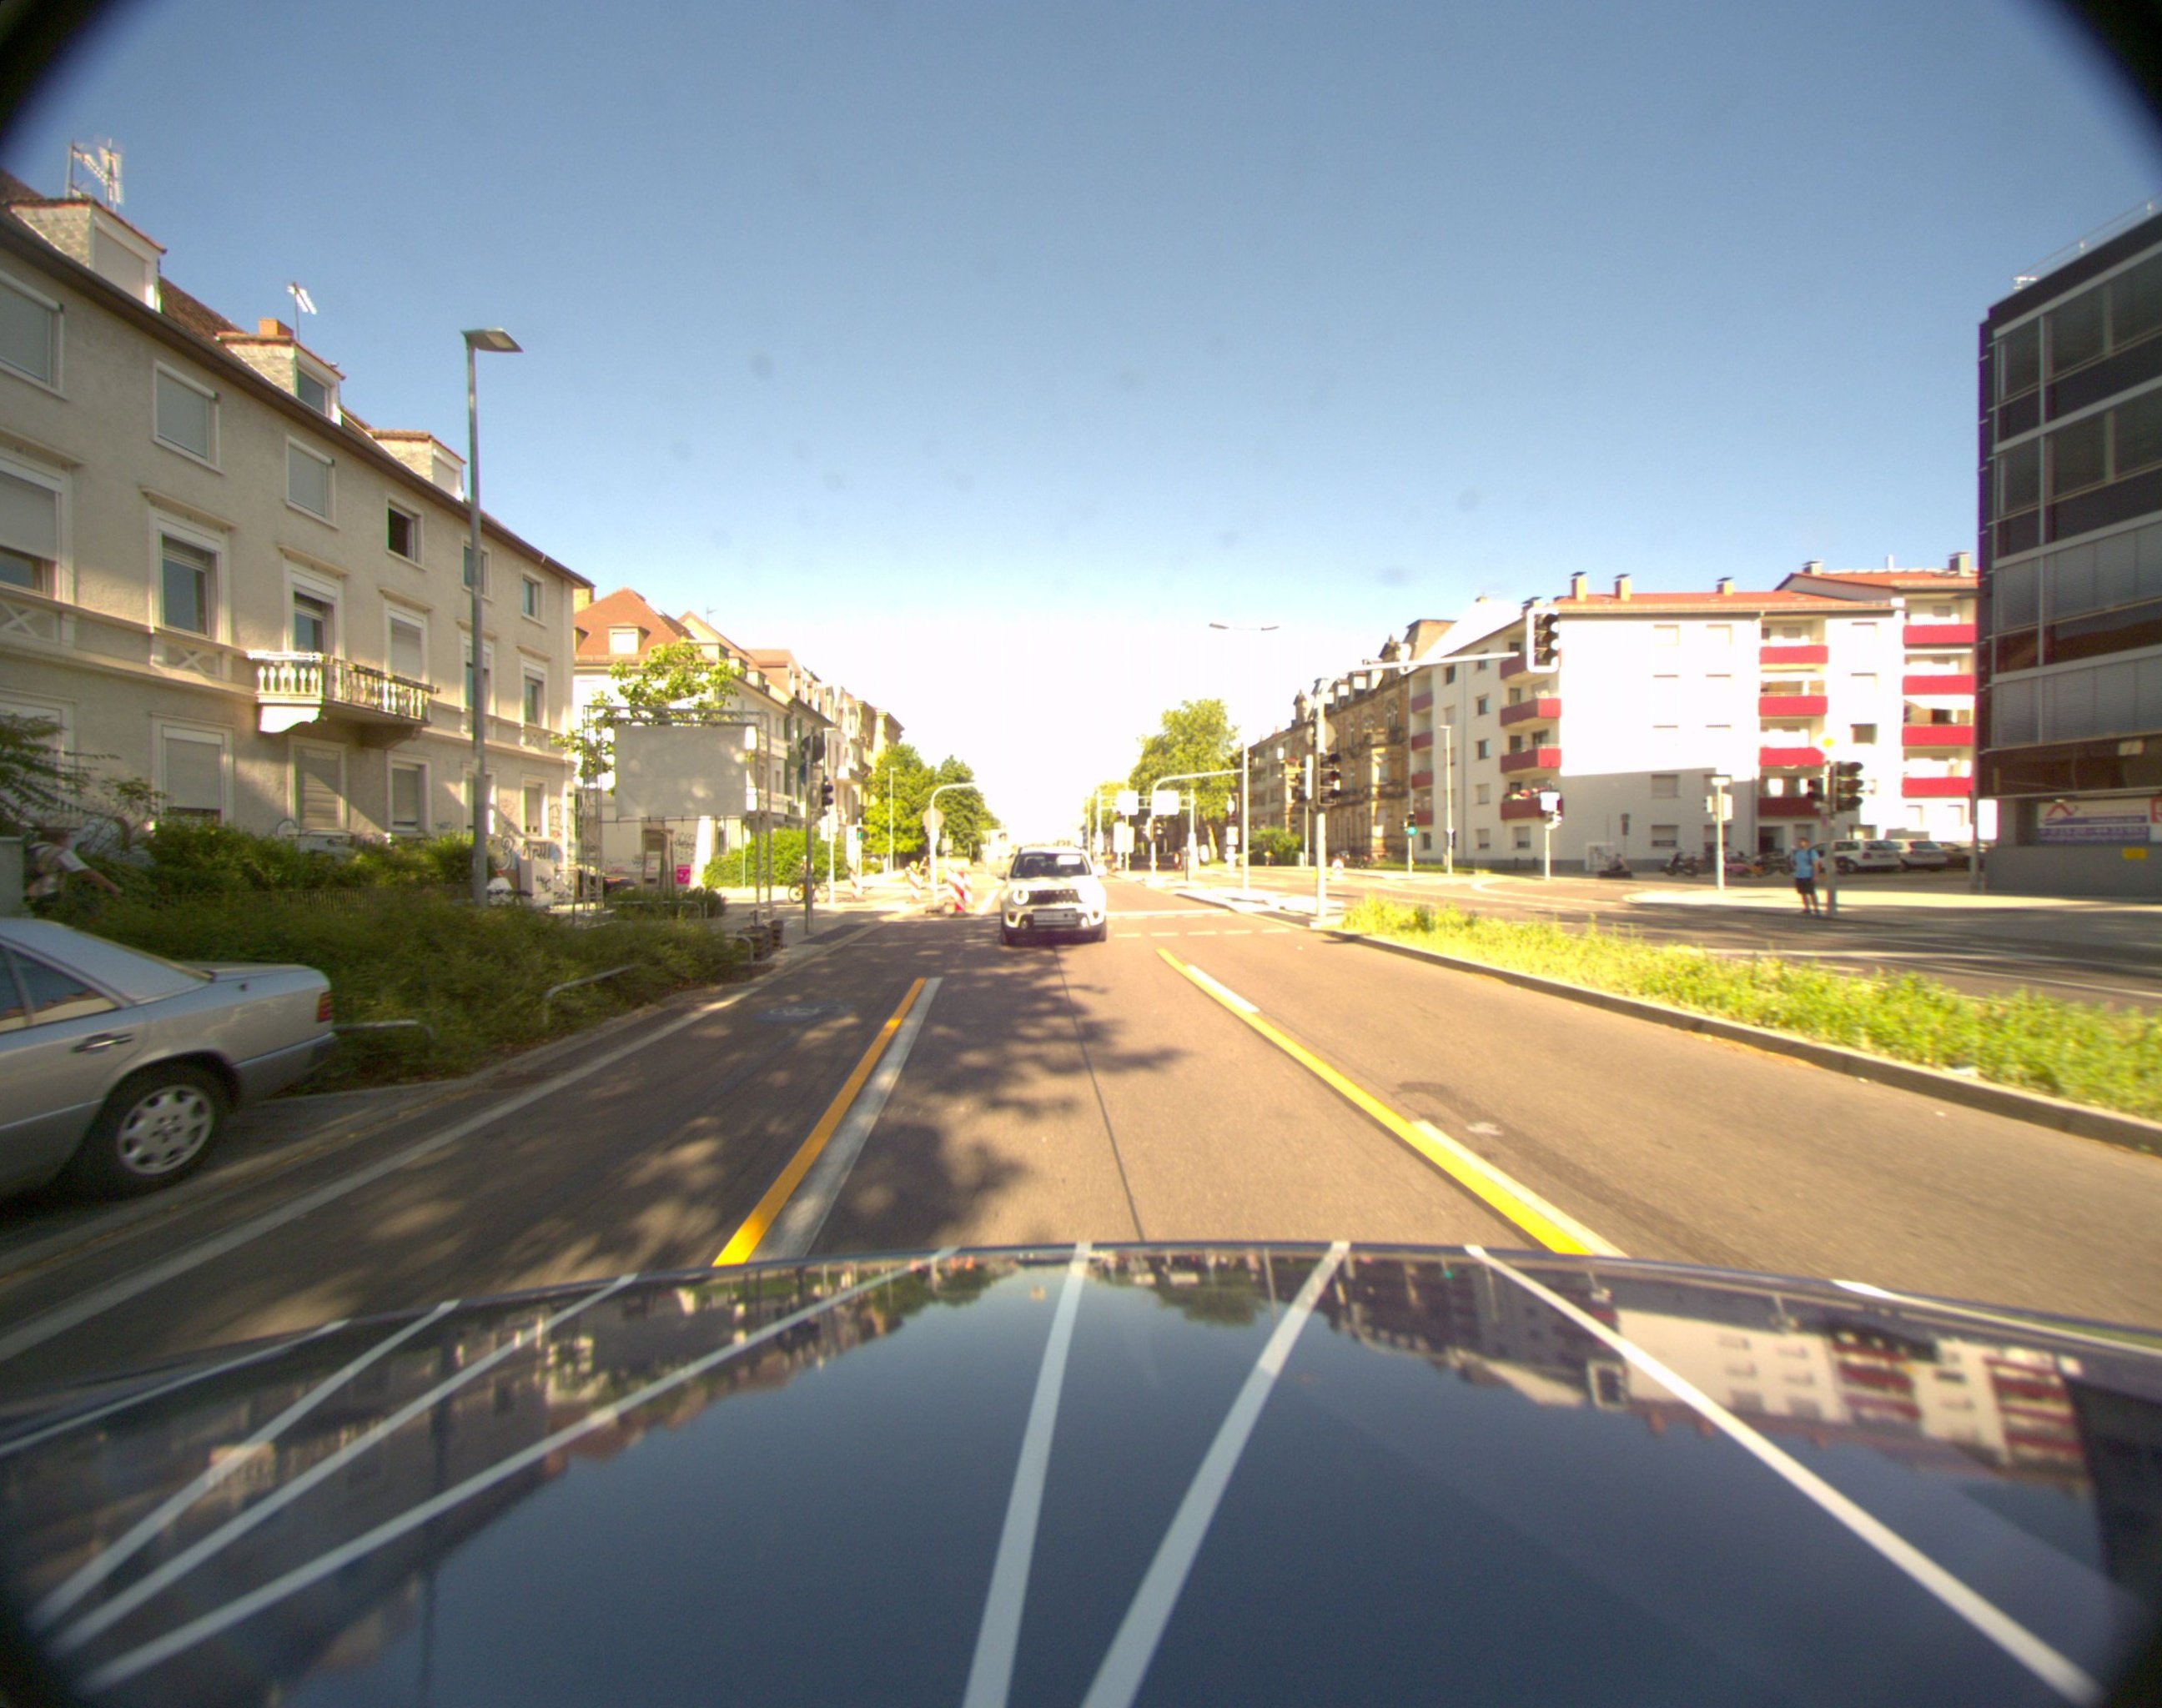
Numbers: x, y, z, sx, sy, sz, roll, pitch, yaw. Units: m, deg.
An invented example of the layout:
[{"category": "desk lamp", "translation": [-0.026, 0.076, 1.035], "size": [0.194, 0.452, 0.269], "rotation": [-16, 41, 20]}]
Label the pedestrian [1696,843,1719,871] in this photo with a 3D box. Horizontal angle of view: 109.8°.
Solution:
[{"category": "pedestrian", "translation": [33.271, 0.145, 40.356], "size": [0.601, 1.488, 0.694], "rotation": [-1, 1, 0]}]

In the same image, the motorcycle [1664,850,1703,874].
[{"category": "motorcycle", "translation": [29.325, 0.365, 36.990], "size": [0.612, 1.135, 1.784], "rotation": [-1, 0, 5]}]

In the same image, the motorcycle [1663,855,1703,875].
[{"category": "motorcycle", "translation": [28.311, 0.500, 35.761], "size": [0.504, 0.931, 1.842], "rotation": [-1, 0, 3]}]

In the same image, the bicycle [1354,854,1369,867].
[{"category": "bicycle", "translation": [20.841, 0.474, 56.495], "size": [0.305, 0.952, 1.939], "rotation": [0, 0, -3]}]

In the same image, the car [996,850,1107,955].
[{"category": "car", "translation": [-0.502, 0.763, 14.037], "size": [1.744, 1.648, 3.689], "rotation": [-1, 1, -1]}]

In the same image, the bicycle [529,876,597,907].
[{"category": "bicycle", "translation": [-18.801, 1.350, 27.589], "size": [2.002, 1.074, 0.579], "rotation": [-1, 1, -2]}]

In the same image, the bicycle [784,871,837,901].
[{"category": "bicycle", "translation": [-10.053, 1.172, 28.261], "size": [1.690, 1.091, 0.689], "rotation": [1, -1, -41]}]

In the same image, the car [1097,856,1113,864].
[{"category": "car", "translation": [3.975, 0.967, 124.109], "size": [1.937, 1.337, 4.313], "rotation": [-1, 0, -7]}]

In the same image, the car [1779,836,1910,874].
[{"category": "car", "translation": [36.939, 0.041, 36.935], "size": [1.998, 1.721, 4.480], "rotation": [-1, 0, 2]}]

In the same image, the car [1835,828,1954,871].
[{"category": "car", "translation": [39.231, -0.204, 36.783], "size": [1.701, 1.944, 3.792], "rotation": [-1, 1, -1]}]

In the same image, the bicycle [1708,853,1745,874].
[{"category": "bicycle", "translation": [29.989, 0.433, 35.336], "size": [0.507, 0.972, 1.886], "rotation": [-1, 0, 13]}]

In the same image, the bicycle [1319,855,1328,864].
[{"category": "bicycle", "translation": [20.378, 0.467, 63.881], "size": [0.299, 0.766, 1.413], "rotation": [-1, 0, -3]}]

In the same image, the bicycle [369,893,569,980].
[{"category": "bicycle", "translation": [-8.680, 1.123, 10.895], "size": [0.587, 0.999, 2.136], "rotation": [-1, 1, 31]}]

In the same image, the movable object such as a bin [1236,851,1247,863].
[{"category": "movable object such as a bin", "translation": [18.125, 0.329, 85.700], "size": [0.895, 1.352, 1.473], "rotation": [1, -1, -3]}]

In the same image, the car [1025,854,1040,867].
[{"category": "car", "translation": [-6.977, 0.922, 109.368], "size": [1.999, 1.761, 3.998], "rotation": [-2, 0, -5]}]

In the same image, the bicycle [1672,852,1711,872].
[{"category": "bicycle", "translation": [30.666, 0.408, 38.206], "size": [0.575, 0.963, 1.736], "rotation": [-1, 0, 1]}]

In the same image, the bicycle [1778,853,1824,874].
[{"category": "bicycle", "translation": [33.395, 0.446, 35.270], "size": [0.459, 0.942, 1.723], "rotation": [-1, 1, -2]}]

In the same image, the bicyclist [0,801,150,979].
[{"category": "bicyclist", "translation": [-11.144, 0.367, 8.239], "size": [0.726, 1.810, 1.070], "rotation": [-1, 1, -3]}]

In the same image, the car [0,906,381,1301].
[{"category": "car", "translation": [-5.270, 1.099, 2.383], "size": [1.857, 1.471, 4.939], "rotation": [-1, 0, -5]}]

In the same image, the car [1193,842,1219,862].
[{"category": "car", "translation": [16.203, -0.255, 98.847], "size": [2.251, 2.431, 5.286], "rotation": [1, -1, -3]}]

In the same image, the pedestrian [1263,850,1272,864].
[{"category": "pedestrian", "translation": [18.765, 0.281, 76.383], "size": [0.568, 1.369, 1.089], "rotation": [-1, 0, -6]}]

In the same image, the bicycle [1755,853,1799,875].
[{"category": "bicycle", "translation": [32.542, 0.440, 35.545], "size": [0.509, 0.997, 1.736], "rotation": [-1, 0, 1]}]

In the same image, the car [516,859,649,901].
[{"category": "car", "translation": [-20.871, 1.070, 31.935], "size": [4.260, 1.609, 1.985], "rotation": [-1, 1, 1]}]

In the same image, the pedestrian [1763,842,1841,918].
[{"category": "pedestrian", "translation": [16.706, 0.582, 17.643], "size": [0.867, 1.701, 1.012], "rotation": [-1, 0, 3]}]

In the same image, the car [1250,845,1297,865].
[{"category": "car", "translation": [17.673, 0.082, 69.740], "size": [3.991, 1.703, 2.003], "rotation": [-1, 0, 18]}]

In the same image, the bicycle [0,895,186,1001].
[{"category": "bicycle", "translation": [-11.128, 0.977, 8.194], "size": [0.784, 0.960, 1.822], "rotation": [-1, 0, -2]}]

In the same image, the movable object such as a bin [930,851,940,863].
[{"category": "movable object such as a bin", "translation": [-18.145, 0.393, 94.367], "size": [0.975, 1.389, 1.285], "rotation": [2, -1, -27]}]

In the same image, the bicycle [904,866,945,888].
[{"category": "bicycle", "translation": [-8.073, 1.187, 39.256], "size": [1.968, 1.019, 0.604], "rotation": [-2, 0, -4]}]

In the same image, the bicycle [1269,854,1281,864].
[{"category": "bicycle", "translation": [19.391, 0.479, 76.025], "size": [0.468, 0.999, 2.249], "rotation": [-2, 0, -5]}]

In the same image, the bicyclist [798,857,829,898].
[{"category": "bicyclist", "translation": [-9.974, 0.870, 28.359], "size": [0.873, 1.491, 0.724], "rotation": [0, 0, -40]}]

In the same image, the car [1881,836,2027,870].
[{"category": "car", "translation": [42.093, -0.042, 36.821], "size": [1.763, 1.520, 4.574], "rotation": [-1, 0, -1]}]

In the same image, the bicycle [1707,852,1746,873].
[{"category": "bicycle", "translation": [32.543, 0.427, 38.317], "size": [0.575, 1.052, 1.690], "rotation": [-1, 0, 1]}]

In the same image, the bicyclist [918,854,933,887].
[{"category": "bicyclist", "translation": [-8.020, 0.837, 39.202], "size": [0.605, 1.698, 0.858], "rotation": [-1, 0, -4]}]

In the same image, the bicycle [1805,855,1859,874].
[{"category": "bicycle", "translation": [34.470, 0.468, 34.901], "size": [0.415, 0.810, 1.719], "rotation": [-1, 1, -27]}]

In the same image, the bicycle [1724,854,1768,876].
[{"category": "bicycle", "translation": [30.578, 0.484, 34.968], "size": [0.478, 0.942, 1.952], "rotation": [-1, 1, 5]}]

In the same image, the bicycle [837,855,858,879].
[{"category": "bicycle", "translation": [-14.515, 0.785, 47.240], "size": [0.710, 1.435, 2.490], "rotation": [-2, 0, -5]}]

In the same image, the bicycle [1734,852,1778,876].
[{"category": "bicycle", "translation": [31.469, 0.450, 35.471], "size": [0.490, 1.062, 1.736], "rotation": [-1, 0, -1]}]

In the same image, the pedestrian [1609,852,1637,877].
[{"category": "pedestrian", "translation": [25.386, 0.462, 35.620], "size": [0.720, 1.146, 0.787], "rotation": [-1, 1, -16]}]
